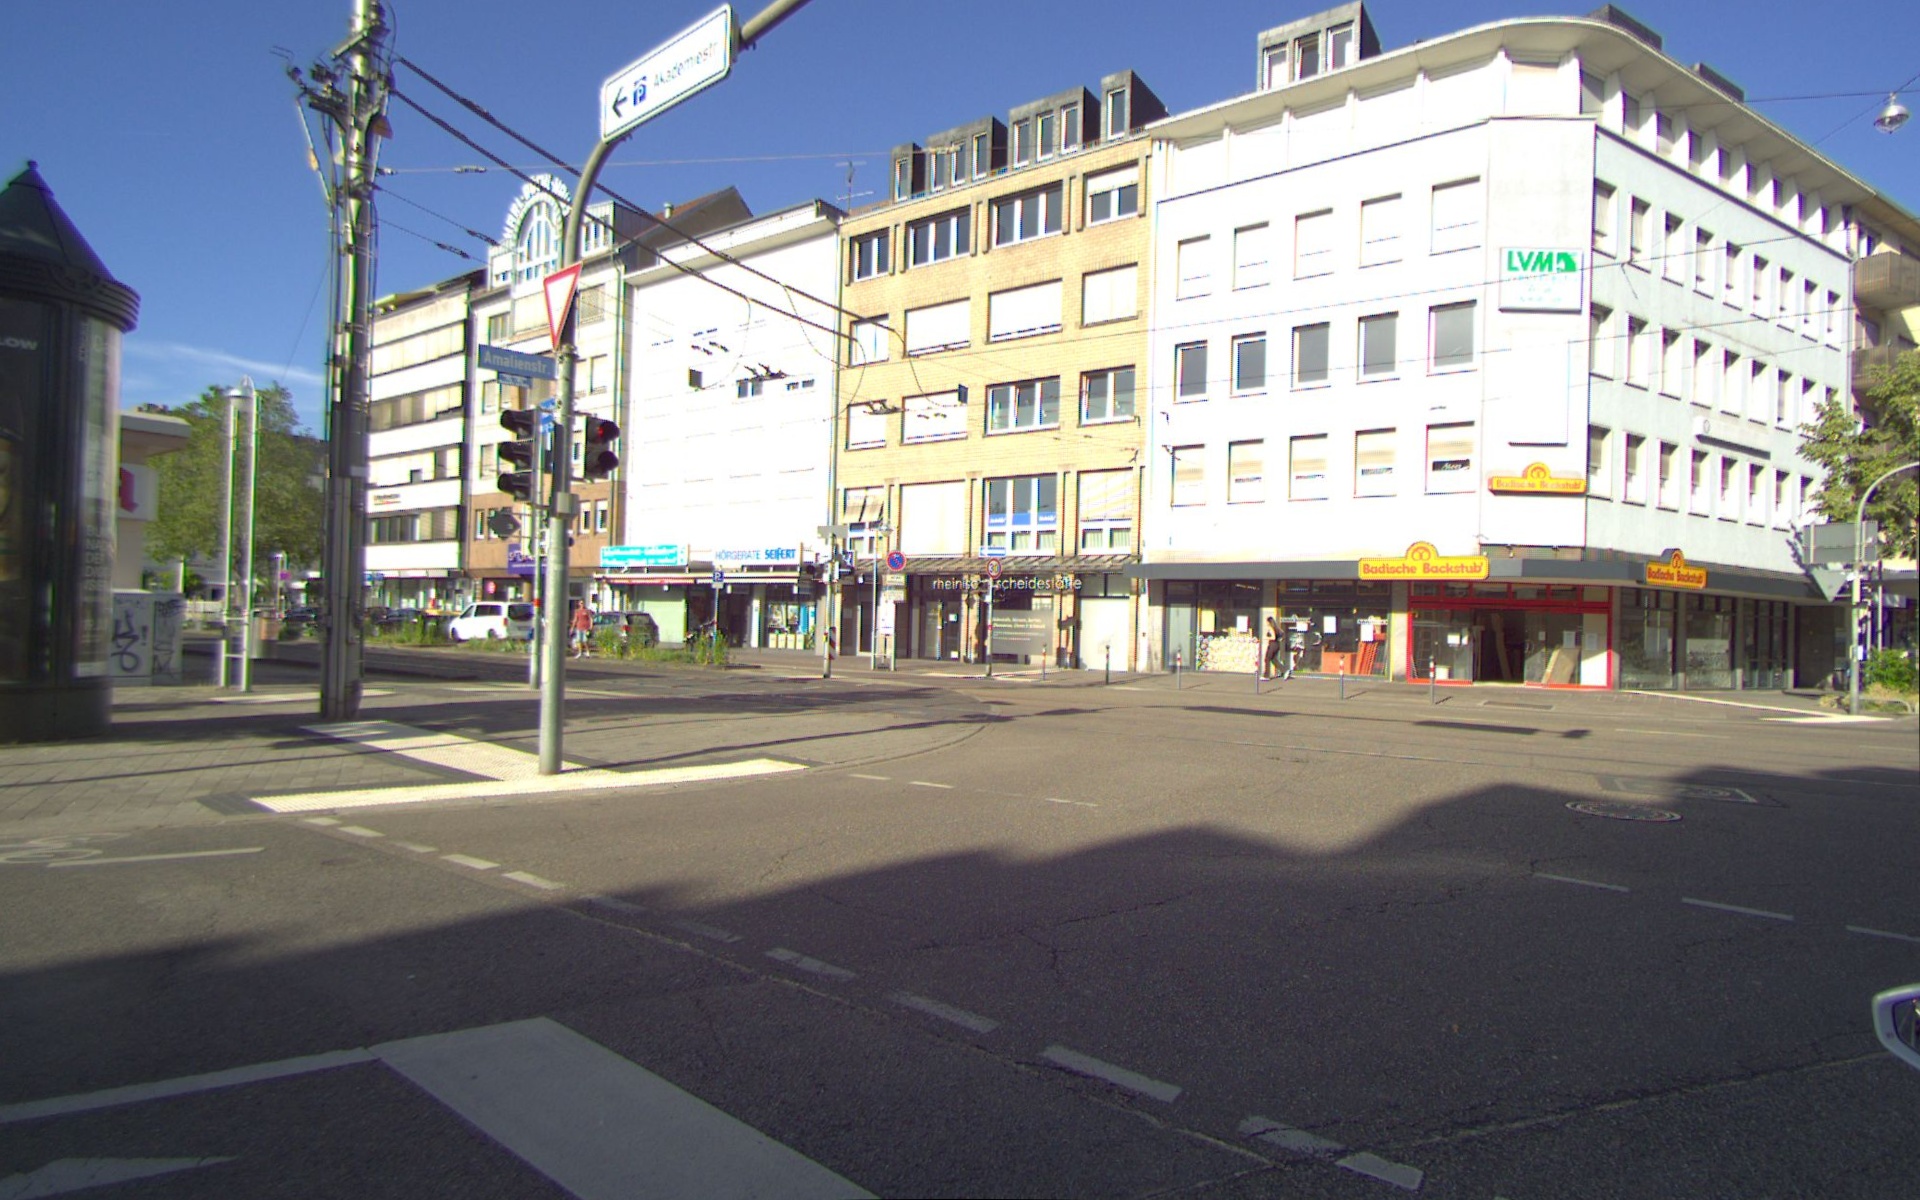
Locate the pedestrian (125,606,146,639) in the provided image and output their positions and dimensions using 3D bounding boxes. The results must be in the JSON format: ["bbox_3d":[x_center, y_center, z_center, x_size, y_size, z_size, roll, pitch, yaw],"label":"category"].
[{"bbox_3d":[-44.408,1.205,54.114,0.570,1.737,0.705,2,-1,-11],"label":"pedestrian"}]

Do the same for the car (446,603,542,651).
[{"bbox_3d":[-20.871,1.184,44.936,4.768,2.040,1.991,0,-2,39],"label":"car"}]

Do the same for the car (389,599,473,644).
[{"bbox_3d":[-25.107,0.999,47.656,3.935,2.040,1.993,0,-1,36],"label":"car"}]

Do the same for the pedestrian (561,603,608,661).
[{"bbox_3d":[-11.203,0.957,29.992,0.898,1.685,0.946,1,-1,8],"label":"pedestrian"}]

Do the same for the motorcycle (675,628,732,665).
[{"bbox_3d":[-11.002,1.989,43.160,0.983,1.525,2.250,0,-2,33],"label":"motorcycle"}]

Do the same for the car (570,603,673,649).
[{"bbox_3d":[-13.557,1.008,40.203,3.935,1.728,1.993,0,-1,36],"label":"car"}]

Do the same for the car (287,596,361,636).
[{"bbox_3d":[-34.205,0.844,53.995,3.935,2.040,1.993,0,-1,36],"label":"car"}]

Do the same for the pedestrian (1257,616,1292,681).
[{"bbox_3d":[8.507,1.306,27.150,0.705,1.732,0.555,2,-2,-33],"label":"pedestrian"}]
